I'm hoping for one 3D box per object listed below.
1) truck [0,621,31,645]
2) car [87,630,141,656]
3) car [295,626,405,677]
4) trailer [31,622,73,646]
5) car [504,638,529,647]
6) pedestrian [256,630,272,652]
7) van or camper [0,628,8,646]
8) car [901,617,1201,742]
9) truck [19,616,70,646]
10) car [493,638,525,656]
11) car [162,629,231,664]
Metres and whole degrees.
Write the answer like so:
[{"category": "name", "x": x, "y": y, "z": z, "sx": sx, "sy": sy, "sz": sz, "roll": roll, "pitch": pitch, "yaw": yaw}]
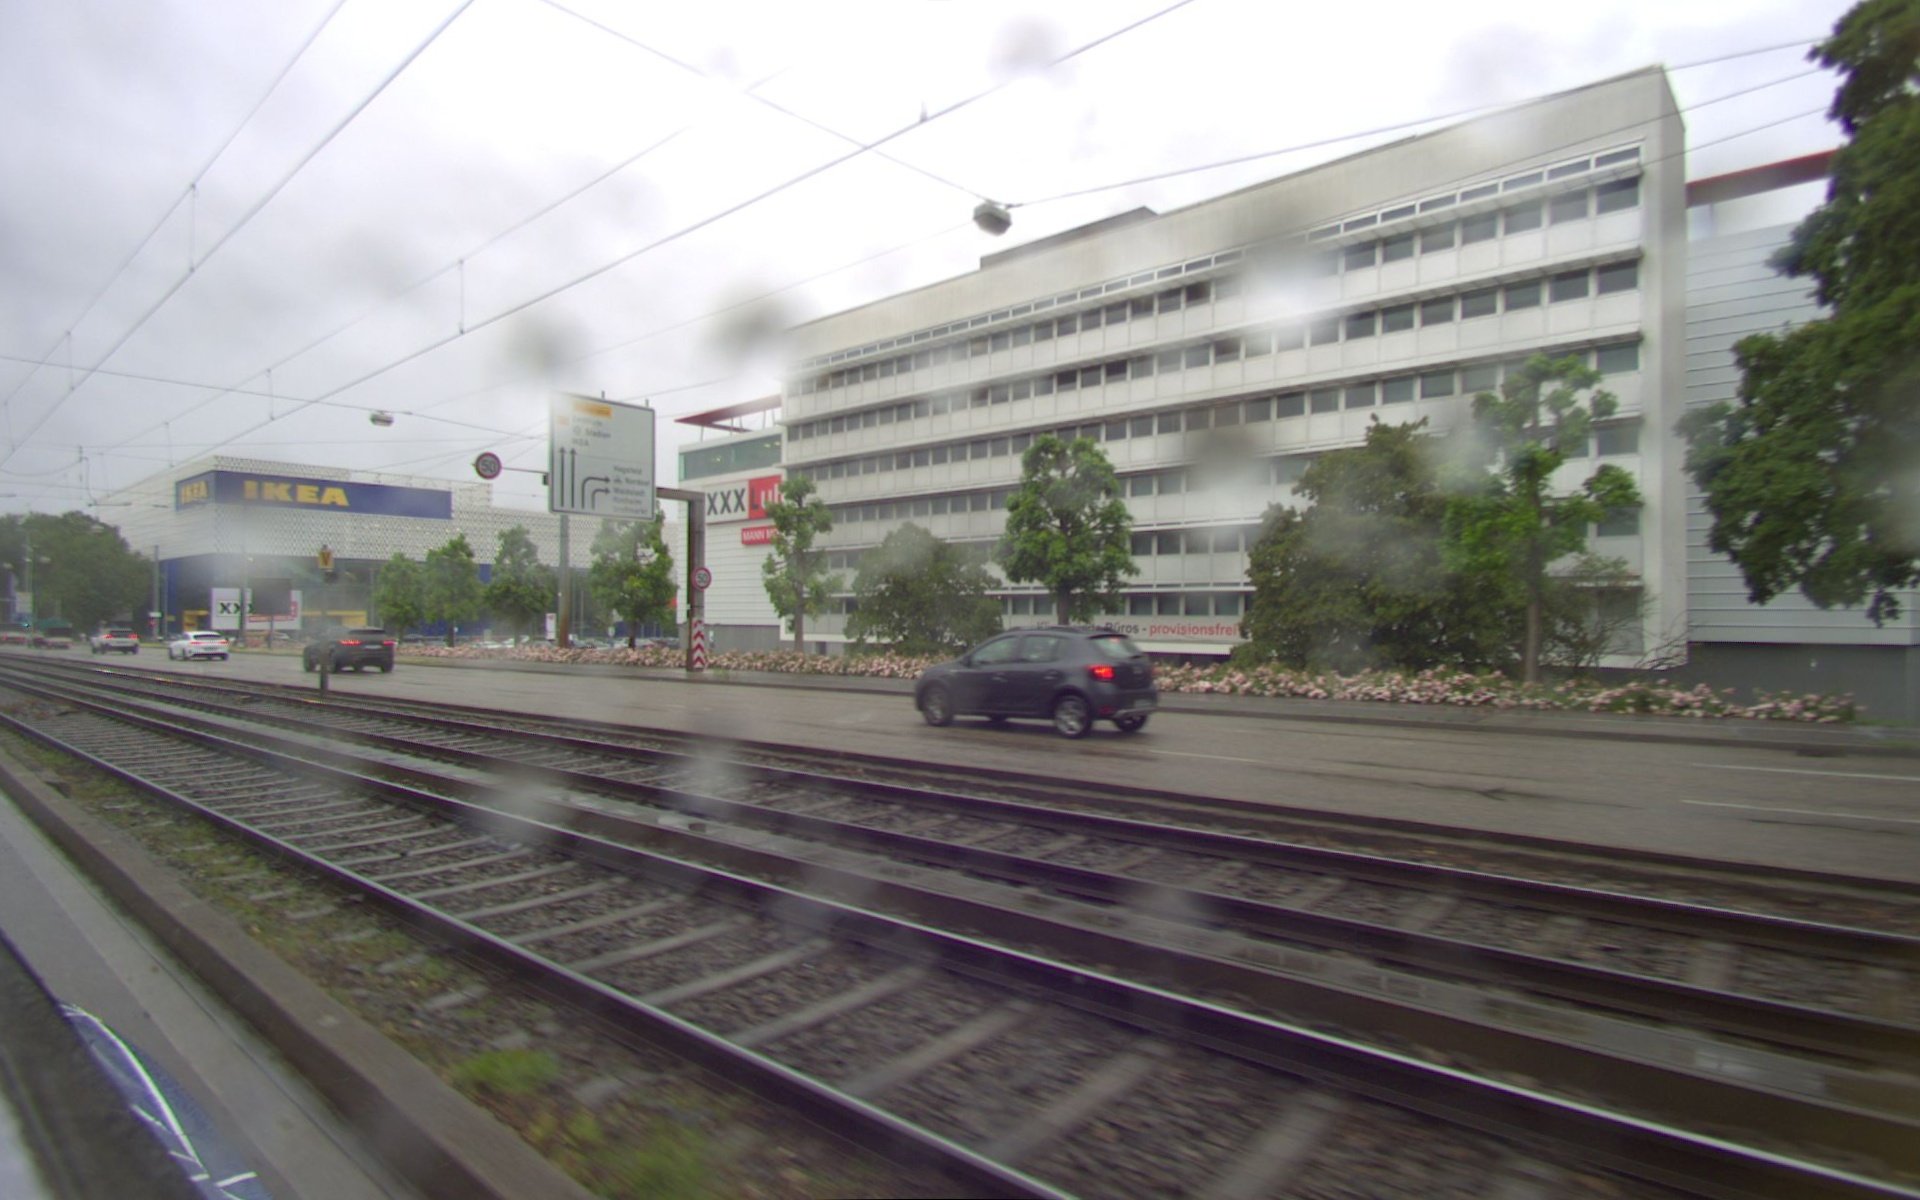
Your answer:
[{"category": "truck", "x": -99.476, "y": 3.484, "z": 106.230, "sx": 6.064, "sy": 2.480, "sz": 2.204, "roll": -2, "pitch": -4, "yaw": 41}, {"category": "car", "x": -54.224, "y": 2.748, "z": 64.826, "sx": 4.764, "sy": 1.595, "sz": 1.972, "roll": -2, "pitch": -3, "yaw": 42}, {"category": "car", "x": -22.143, "y": 1.839, "z": 36.650, "sx": 4.879, "sy": 1.734, "sz": 1.973, "roll": -2, "pitch": -3, "yaw": 41}, {"category": "trailer", "x": -74.021, "y": 2.790, "z": 82.481, "sx": 3.835, "sy": 1.806, "sz": 2.097, "roll": -2, "pitch": 0, "yaw": 41}, {"category": "car", "x": -83.382, "y": 7.939, "z": 190.391, "sx": 1.602, "sy": 1.417, "sz": 3.930, "roll": -1, "pitch": 0, "yaw": 43}, {"category": "pedestrian", "x": -59.131, "y": 3.493, "z": 85.980, "sx": 1.050, "sy": 1.776, "sz": 0.814, "roll": -1, "pitch": 1, "yaw": 43}, {"category": "van or camper", "x": -113.929, "y": 4.316, "z": 119.034, "sx": 5.684, "sy": 2.029, "sz": 2.280, "roll": -1, "pitch": -2, "yaw": 42}, {"category": "car", "x": 1.277, "y": 1.106, "z": 15.426, "sx": 4.252, "sy": 1.630, "sz": 1.972, "roll": -2, "pitch": -2, "yaw": 42}, {"category": "truck", "x": -78.176, "y": 2.643, "z": 86.371, "sx": 7.217, "sy": 2.476, "sz": 2.409, "roll": -2, "pitch": -3, "yaw": 42}, {"category": "car", "x": -55.953, "y": 5.822, "z": 125.532, "sx": 4.085, "sy": 2.029, "sz": 1.975, "roll": -2, "pitch": 0, "yaw": 38}, {"category": "car", "x": -38.196, "y": 2.295, "z": 50.600, "sx": 4.685, "sy": 1.695, "sz": 1.753, "roll": -2, "pitch": -2, "yaw": 40}]
